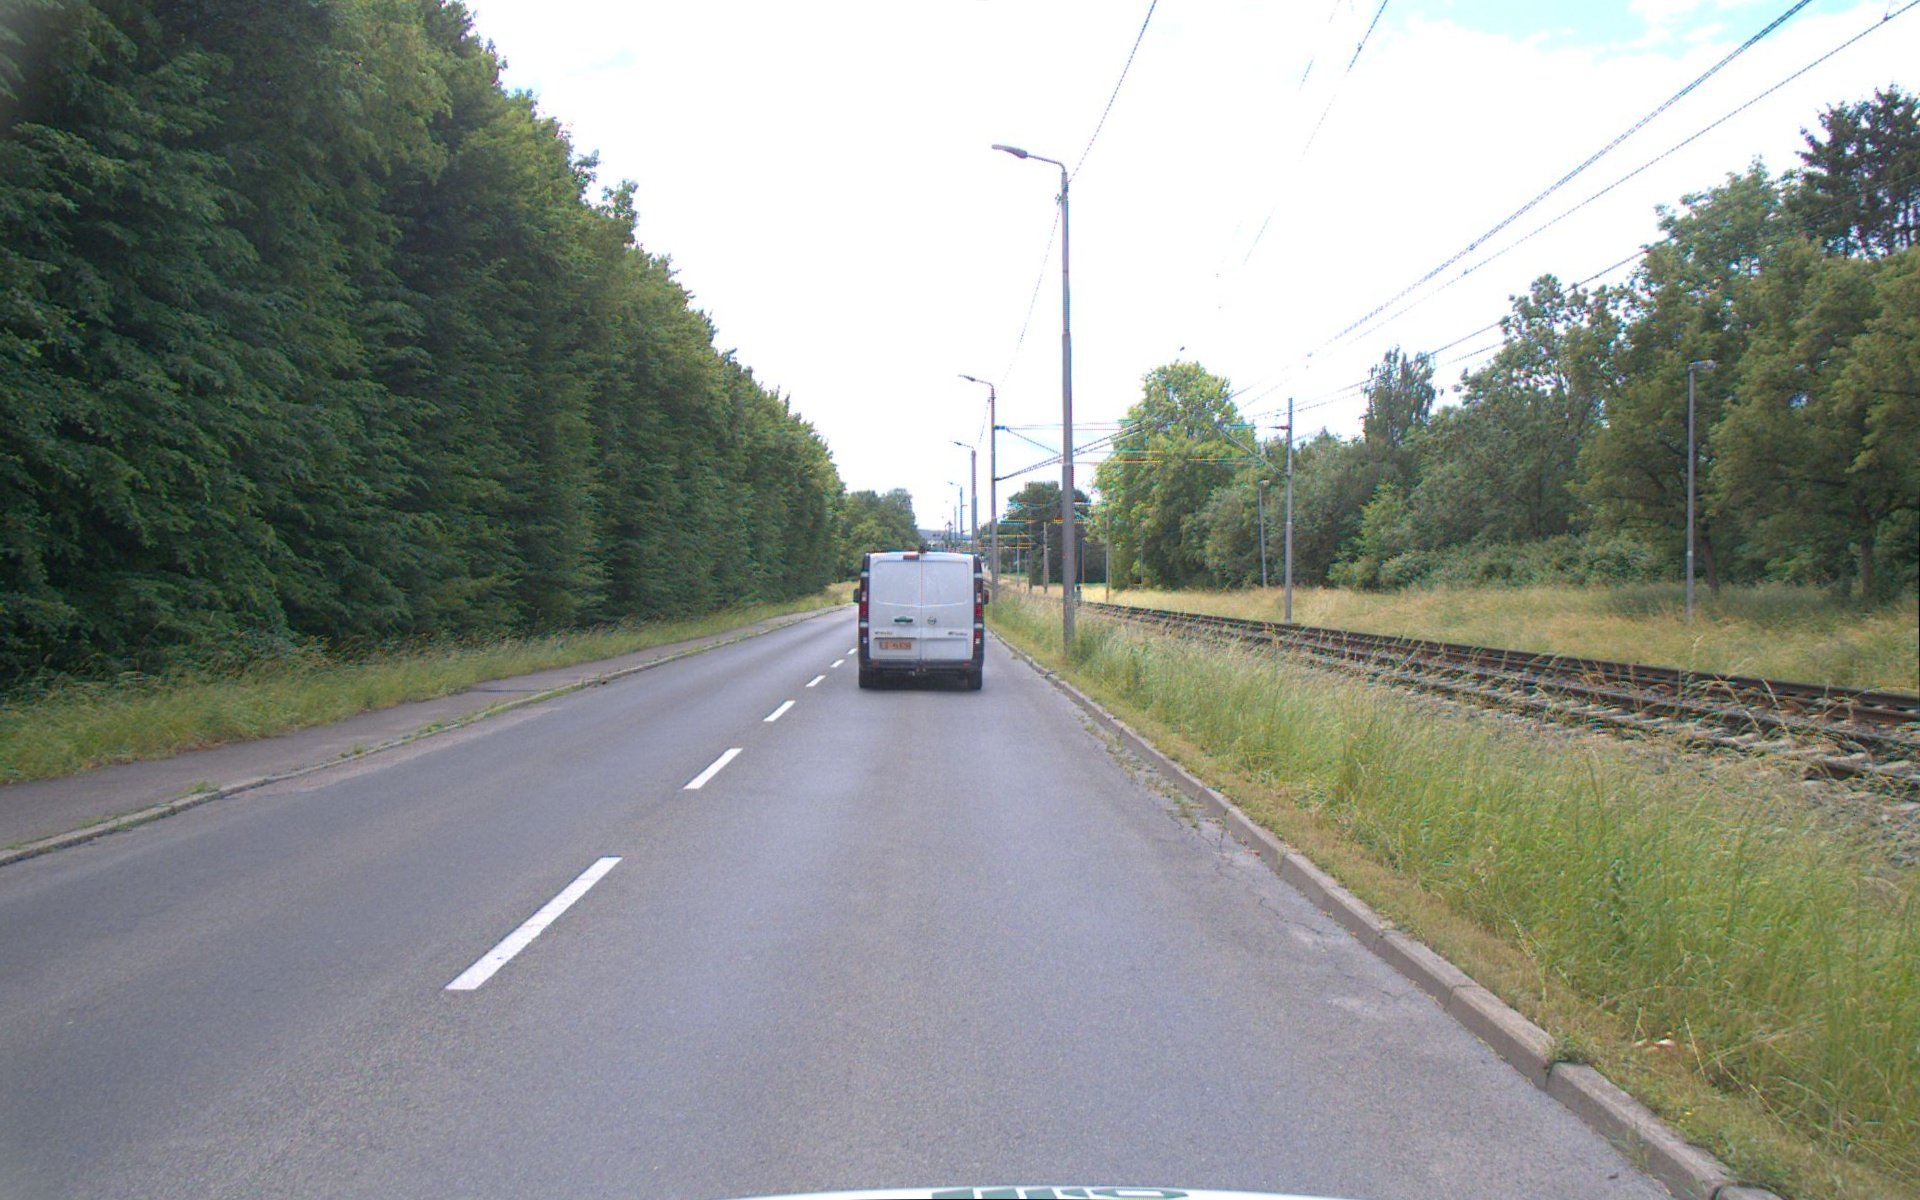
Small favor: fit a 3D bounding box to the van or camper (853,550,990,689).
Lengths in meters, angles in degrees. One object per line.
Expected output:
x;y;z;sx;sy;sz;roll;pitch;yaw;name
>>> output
-0.627;0.252;25.320;1.903;1.930;4.283;1;1;-3;van or camper
